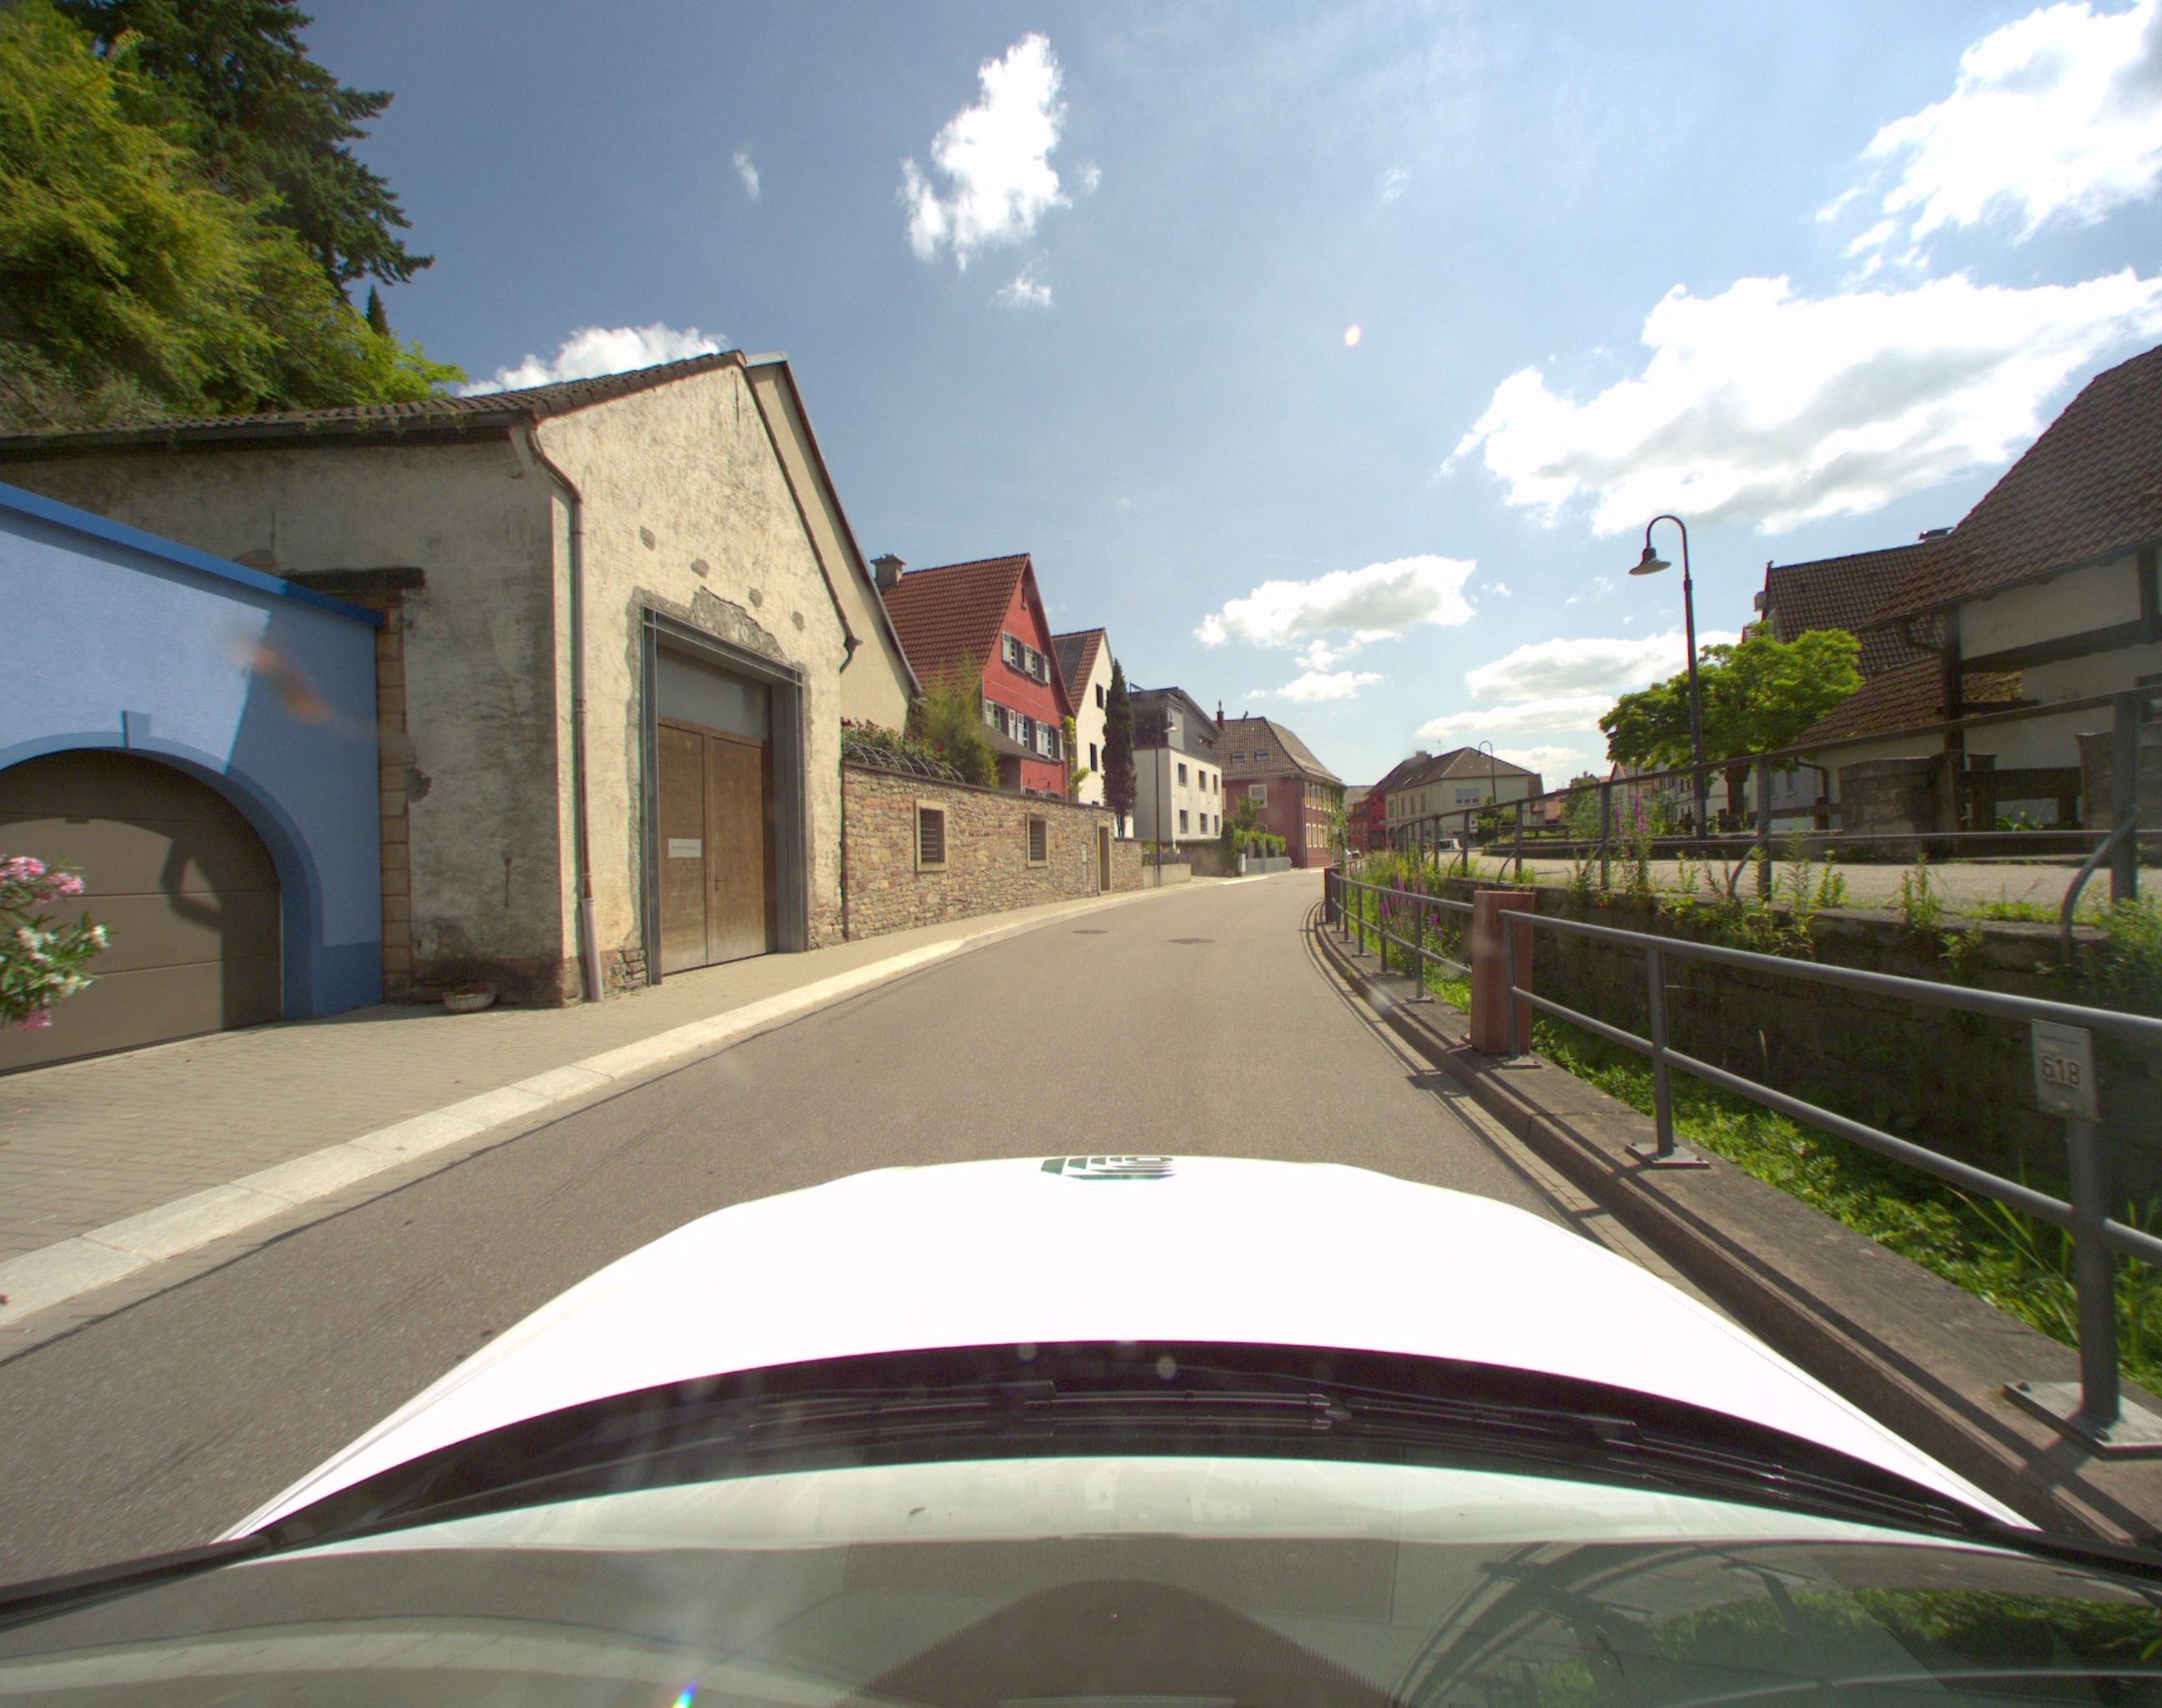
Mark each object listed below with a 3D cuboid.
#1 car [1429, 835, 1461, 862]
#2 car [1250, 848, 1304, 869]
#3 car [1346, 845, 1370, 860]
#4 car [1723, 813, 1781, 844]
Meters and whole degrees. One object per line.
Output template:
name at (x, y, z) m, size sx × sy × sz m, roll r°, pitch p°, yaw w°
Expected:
car at (29.306, -0.439, 65.507) m, size 1.879 × 1.981 × 3.133 m, roll -5°, pitch -1°, yaw 31°
car at (14.525, 0.313, 60.245) m, size 3.532 × 1.406 × 1.662 m, roll 3°, pitch 2°, yaw 28°
car at (35.718, -0.187, 105.079) m, size 1.620 × 1.719 × 3.465 m, roll -4°, pitch -1°, yaw -6°
car at (34.758, -1.296, 42.253) m, size 1.649 × 1.416 × 3.097 m, roll -5°, pitch -1°, yaw 27°
